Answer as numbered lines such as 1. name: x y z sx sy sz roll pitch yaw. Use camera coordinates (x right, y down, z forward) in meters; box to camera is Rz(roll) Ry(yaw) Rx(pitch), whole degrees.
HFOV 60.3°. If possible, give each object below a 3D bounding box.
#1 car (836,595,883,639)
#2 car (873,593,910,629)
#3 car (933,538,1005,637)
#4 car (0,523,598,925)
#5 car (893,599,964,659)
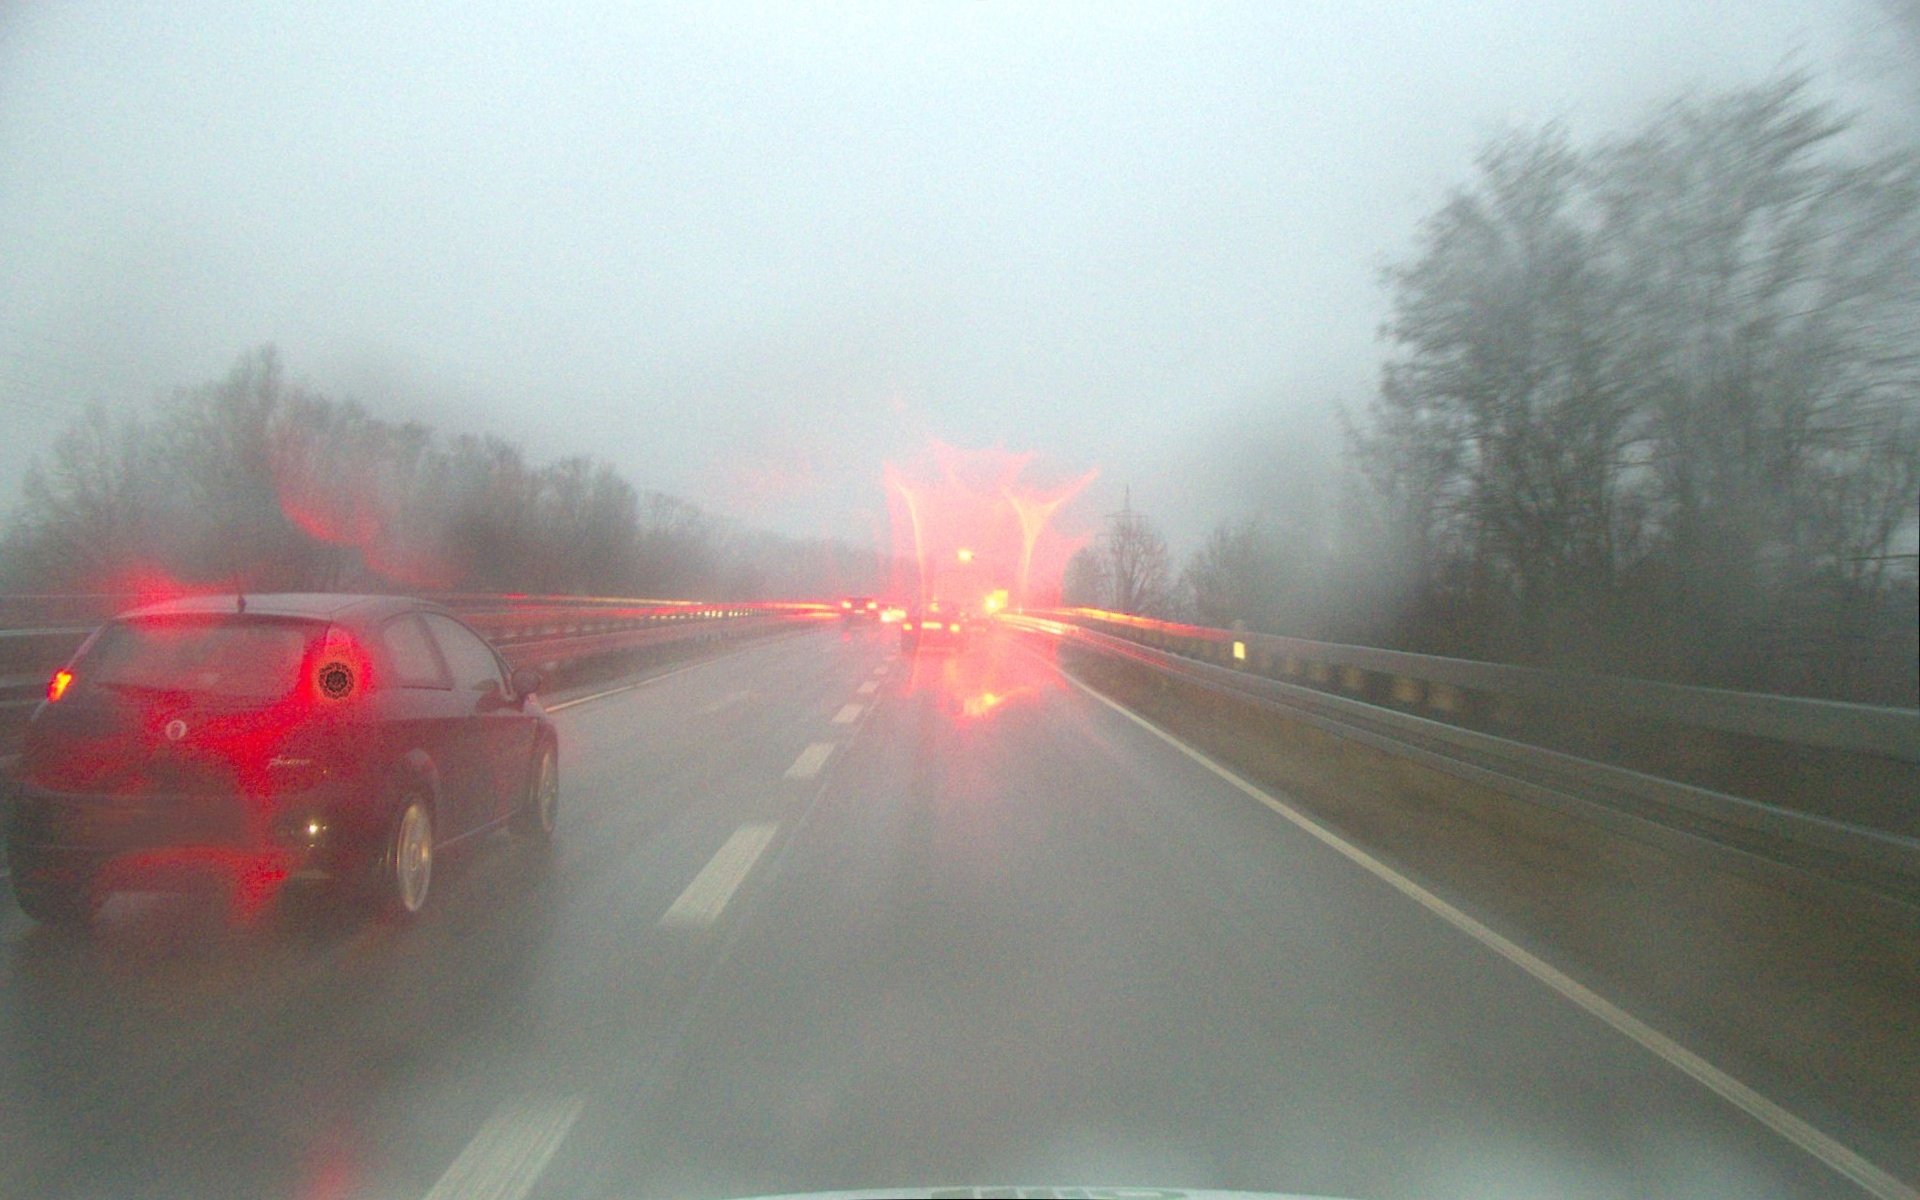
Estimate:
1. car: -4.560 0.763 75.630 1.954 1.846 3.998 4 0 -2
2. car: -3.991 0.589 95.736 1.954 1.743 3.999 -5 2 -2
3. car: 0.244 -0.306 54.289 2.235 3.018 6.388 0 -2 -1
4. car: -3.182 0.557 8.533 1.695 1.560 4.041 1 -2 0
5. car: -0.794 0.761 44.182 1.701 1.439 4.377 3 -1 1
